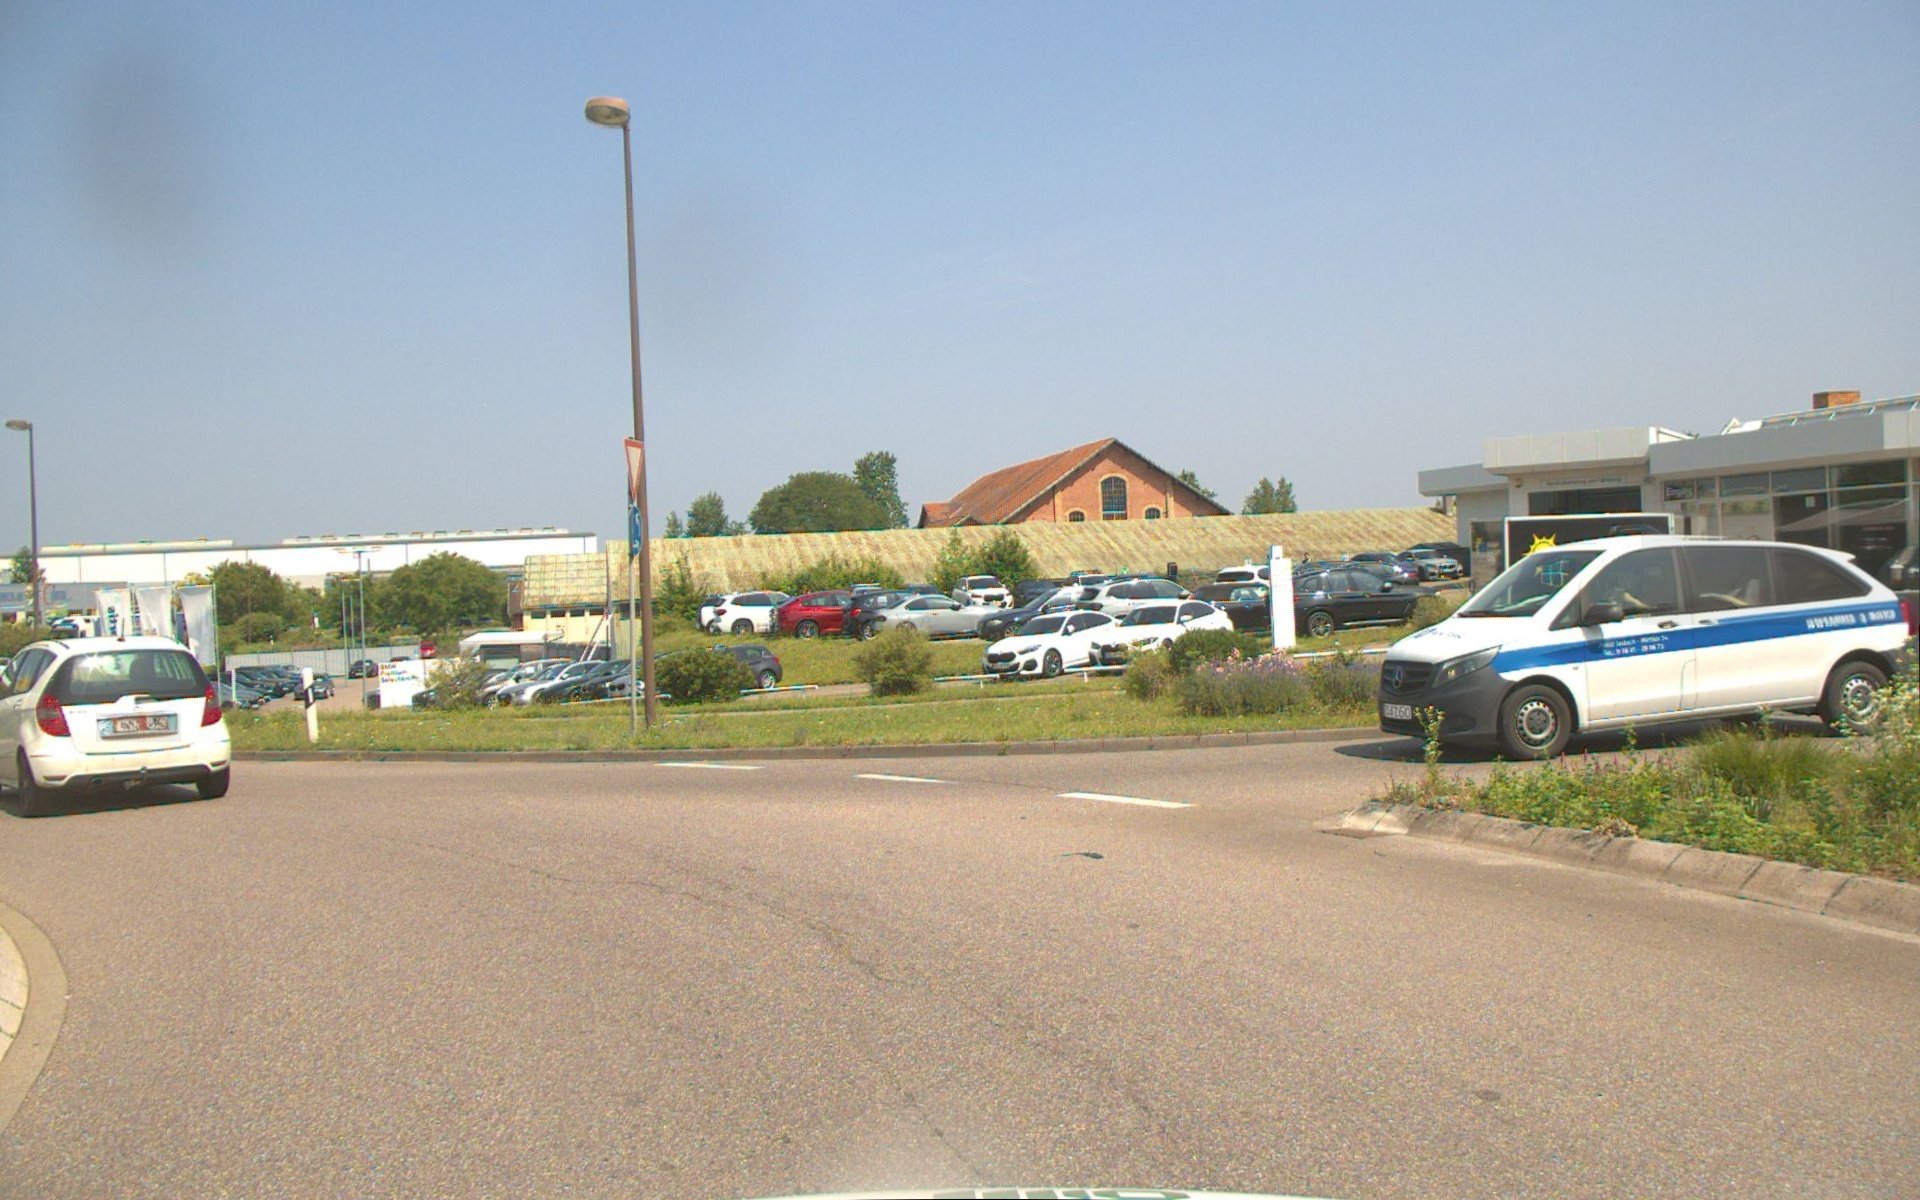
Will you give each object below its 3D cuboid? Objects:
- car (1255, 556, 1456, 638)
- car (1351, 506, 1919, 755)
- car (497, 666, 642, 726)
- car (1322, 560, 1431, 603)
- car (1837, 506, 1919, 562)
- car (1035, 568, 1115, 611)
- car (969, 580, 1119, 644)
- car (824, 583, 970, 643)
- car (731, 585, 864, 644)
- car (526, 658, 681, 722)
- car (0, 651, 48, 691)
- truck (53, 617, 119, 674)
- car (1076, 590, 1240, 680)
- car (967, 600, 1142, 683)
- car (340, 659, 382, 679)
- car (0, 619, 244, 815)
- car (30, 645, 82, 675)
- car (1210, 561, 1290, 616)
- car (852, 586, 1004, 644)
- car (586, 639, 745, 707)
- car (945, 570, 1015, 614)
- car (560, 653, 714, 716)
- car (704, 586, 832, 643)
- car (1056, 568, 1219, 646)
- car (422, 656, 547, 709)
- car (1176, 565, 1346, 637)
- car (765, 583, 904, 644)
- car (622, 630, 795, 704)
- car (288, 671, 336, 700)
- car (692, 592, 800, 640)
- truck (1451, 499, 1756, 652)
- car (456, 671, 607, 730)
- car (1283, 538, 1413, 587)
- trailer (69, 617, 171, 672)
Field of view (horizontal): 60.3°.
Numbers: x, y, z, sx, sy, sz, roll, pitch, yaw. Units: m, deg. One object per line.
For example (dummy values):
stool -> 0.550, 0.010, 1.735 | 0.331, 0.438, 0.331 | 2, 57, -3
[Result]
car -> 9.750, -0.063, 40.885 | 4.342, 1.525, 1.941 | -6, 0, -16
car -> 6.426, 0.246, 15.264 | 5.118, 1.972, 1.856 | -2, -1, -10
car -> -12.871, 3.159, 54.564 | 4.213, 1.490, 1.851 | -5, -2, -35
car -> 14.495, -0.636, 57.662 | 1.643, 1.297, 3.293 | -4, 1, -40
car -> 30.342, -2.164, 52.611 | 3.955, 1.613, 1.905 | -4, 1, -10
car -> 4.801, -0.418, 69.808 | 2.150, 1.624, 4.290 | -4, 0, -13
car -> 2.394, 0.341, 47.492 | 3.923, 1.553, 1.945 | -4, 1, -10
car -> -2.065, 0.423, 53.990 | 4.381, 1.663, 1.941 | -4, 0, -16
car -> -5.768, 0.516, 58.595 | 4.381, 1.777, 1.831 | -4, 0, -16
car -> -11.362, 2.871, 52.863 | 4.401, 1.490, 1.893 | -5, -1, -43
car -> -51.345, 3.834, 89.257 | 1.952, 2.049, 4.000 | -2, -1, 1
truck -> -71.091, 3.650, 134.653 | 2.465, 4.331, 6.105 | -3, -1, -6
car -> 4.667, 0.780, 38.413 | 1.732, 1.597, 4.652 | -3, 3, 35
car -> 2.330, 0.963, 39.777 | 1.736, 1.597, 4.554 | -5, 0, 40
car -> -45.603, 5.248, 125.981 | 1.954, 1.422, 3.997 | -2, -1, -3
car -> -8.605, 1.115, 16.423 | 1.769, 1.631, 3.838 | -2, -2, -39
car -> -67.655, 4.474, 123.815 | 1.955, 2.049, 3.995 | -2, -1, -5
car -> 9.558, -0.409, 54.274 | 1.619, 1.613, 4.268 | -3, 1, 23
car -> -1.021, 0.463, 51.961 | 4.381, 1.526, 1.941 | -4, 1, -16
car -> -8.720, 2.157, 49.230 | 4.230, 1.507, 1.892 | -5, -1, -44
car -> 0.784, -0.301, 68.445 | 1.884, 1.624, 4.290 | -4, 0, -13
car -> -9.976, 2.600, 51.160 | 4.214, 1.436, 1.900 | -6, -1, -35
car -> -7.052, 0.525, 60.786 | 4.381, 1.777, 1.831 | -4, 0, -16
car -> 4.858, 0.178, 45.423 | 3.932, 1.780, 1.941 | -5, 1, -16
car -> -17.682, 3.077, 61.509 | 3.961, 1.579, 1.972 | -4, -2, -39
car -> 7.960, -0.004, 43.872 | 3.932, 1.525, 1.941 | -5, 2, -16
car -> -4.303, 0.456, 56.417 | 4.381, 1.777, 1.941 | -4, 0, -16
car -> -7.133, 1.891, 47.179 | 4.539, 1.592, 1.892 | -5, -1, -44
car -> -38.242, 5.023, 97.712 | 2.100, 1.483, 4.513 | -2, -1, -15
car -> -8.148, 0.601, 62.912 | 3.812, 1.559, 1.761 | -4, 0, -16
truck -> 13.075, -0.508, 33.714 | 5.508, 2.711, 1.945 | -4, 0, -10
car -> -15.234, 3.569, 58.884 | 4.728, 1.534, 1.976 | -5, -2, -35
car -> 14.824, -1.420, 63.330 | 4.374, 1.548, 1.944 | -4, 0, -11
trailer -> -71.739, 3.808, 141.739 | 2.618, 4.315, 14.546 | -2, -1, -6
